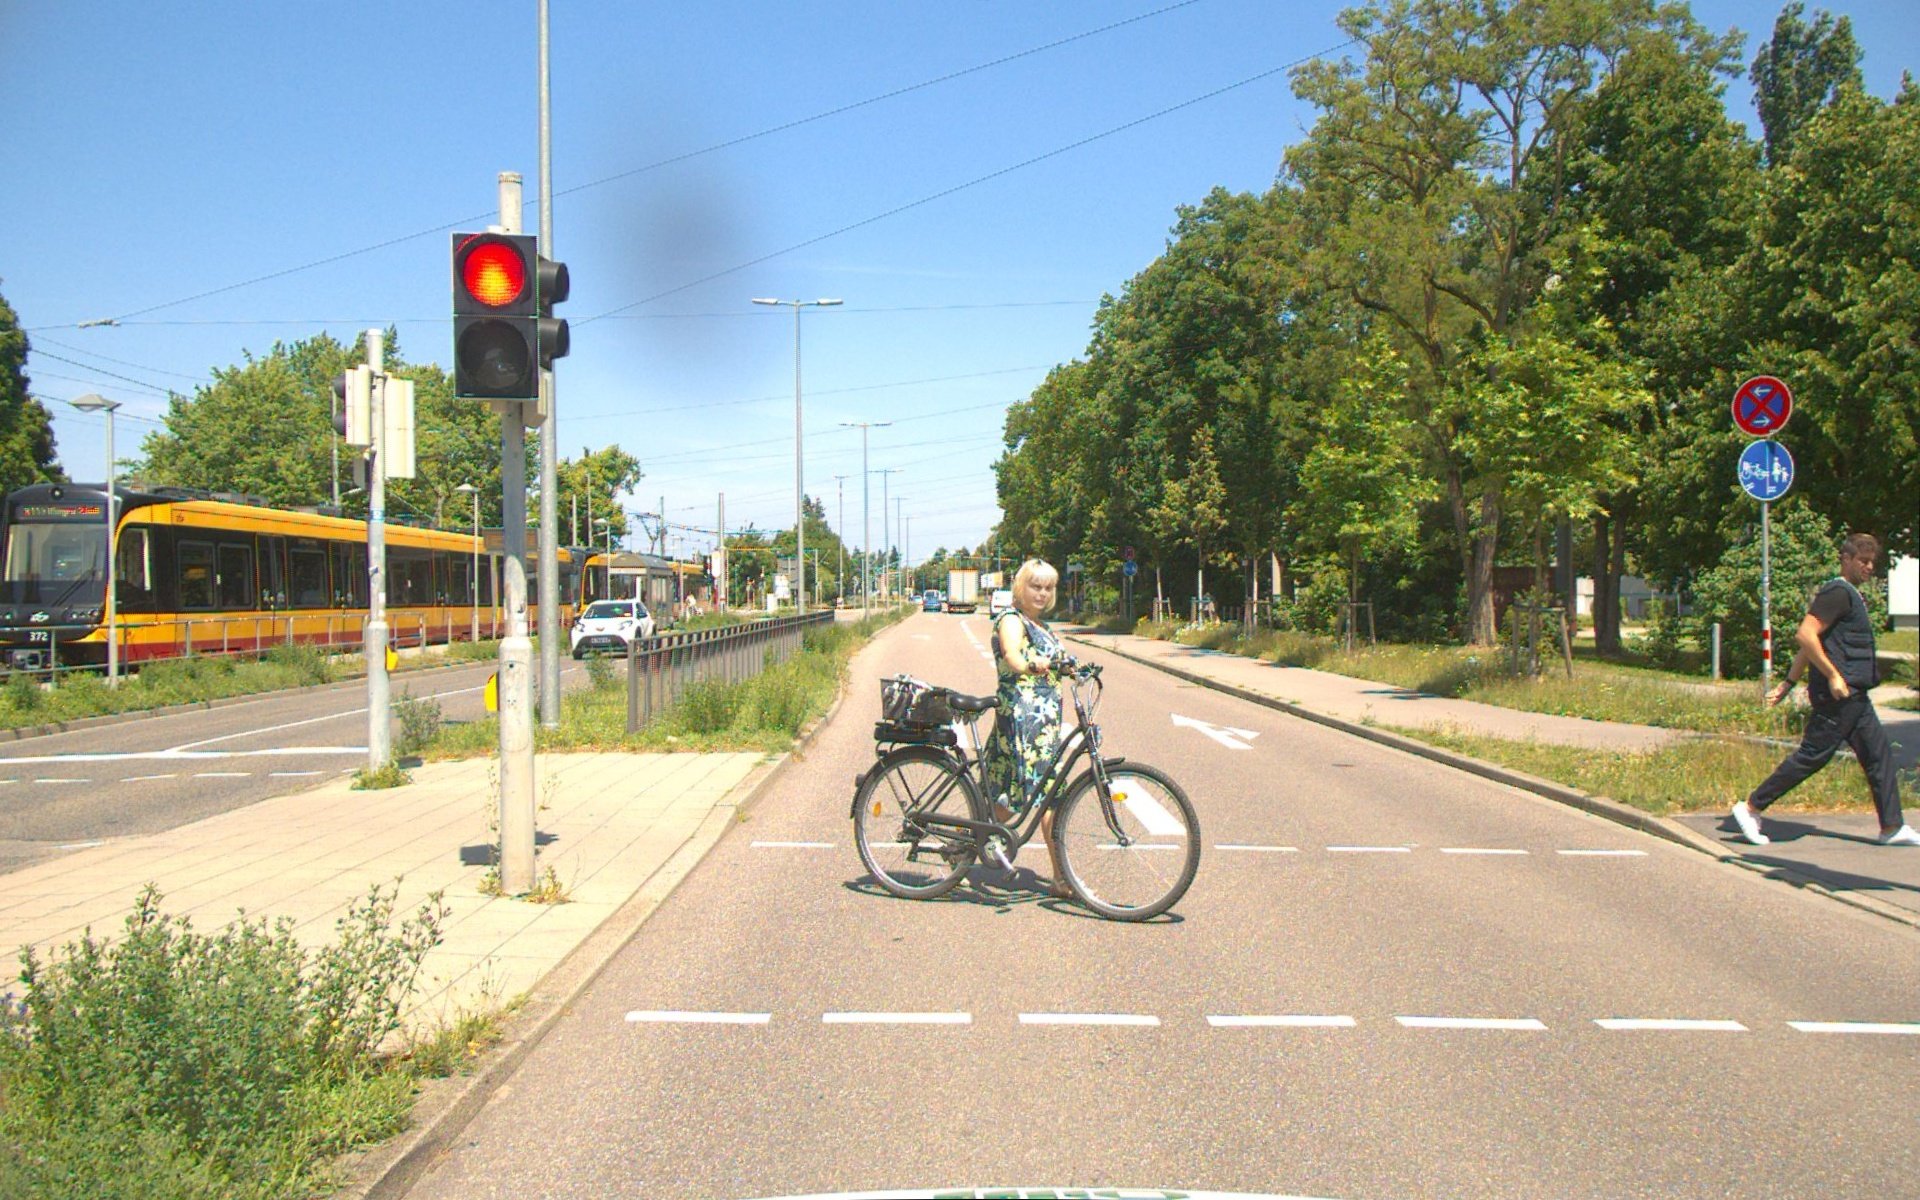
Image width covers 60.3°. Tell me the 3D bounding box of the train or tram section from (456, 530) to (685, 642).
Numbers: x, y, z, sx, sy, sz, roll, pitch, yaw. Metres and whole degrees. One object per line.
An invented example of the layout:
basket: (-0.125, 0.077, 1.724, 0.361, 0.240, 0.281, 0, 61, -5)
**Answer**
train or tram section: (-16.287, -0.554, 74.004, 2.871, 3.856, 33.081, 0, 0, -1)

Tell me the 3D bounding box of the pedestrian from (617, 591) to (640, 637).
pedestrian: (-13.850, 0.582, 69.085, 0.769, 1.901, 0.817, 0, 0, -1)

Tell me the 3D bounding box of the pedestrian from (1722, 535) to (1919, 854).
pedestrian: (5.291, 0.552, 9.949, 1.162, 1.809, 0.838, -2, -1, 30)

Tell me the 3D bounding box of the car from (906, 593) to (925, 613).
car: (-4.691, 0.299, 175.092, 1.953, 2.049, 3.999, 0, 0, -1)

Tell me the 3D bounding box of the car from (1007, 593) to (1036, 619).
car: (4.184, 0.377, 112.505, 1.743, 1.698, 3.999, 0, 0, -1)

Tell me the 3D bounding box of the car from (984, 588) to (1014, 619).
car: (2.453, 0.202, 105.707, 1.743, 1.937, 3.999, 0, 0, -1)

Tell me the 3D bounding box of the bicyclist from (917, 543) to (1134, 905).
bicyclist: (0.332, 0.574, 8.209, 0.937, 1.695, 0.581, 1, 2, 17)

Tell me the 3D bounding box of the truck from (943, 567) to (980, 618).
truck: (0.075, -0.669, 146.124, 3.140, 4.435, 6.559, 0, 0, -1)

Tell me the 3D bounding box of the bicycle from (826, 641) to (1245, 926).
bicycle: (0.356, 0.831, 7.908, 1.916, 1.181, 0.541, 1, 2, 17)

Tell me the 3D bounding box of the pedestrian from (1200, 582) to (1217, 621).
pedestrian: (9.335, 0.061, 62.086, 0.591, 1.463, 0.556, 0, 0, 6)

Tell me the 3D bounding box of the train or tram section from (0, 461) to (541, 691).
train or tram section: (-15.831, -0.464, 42.481, 2.897, 3.815, 30.027, 0, 0, -1)

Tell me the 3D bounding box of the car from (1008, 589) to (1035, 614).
car: (4.409, 0.096, 118.856, 1.743, 1.698, 3.999, 0, 0, -1)

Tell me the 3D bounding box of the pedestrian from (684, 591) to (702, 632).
pedestrian: (-13.466, 0.577, 83.443, 0.798, 2.049, 0.938, 0, 0, -1)

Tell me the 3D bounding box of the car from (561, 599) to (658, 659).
car: (-9.282, 0.737, 44.071, 1.807, 1.521, 3.790, 0, 0, -1)

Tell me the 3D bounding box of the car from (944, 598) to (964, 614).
car: (-0.585, 0.533, 153.602, 1.774, 1.490, 3.999, 0, 0, -1)

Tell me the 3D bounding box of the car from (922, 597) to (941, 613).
car: (-2.681, 0.508, 157.247, 1.774, 1.490, 3.999, 0, 0, -1)

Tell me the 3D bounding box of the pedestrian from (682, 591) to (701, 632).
pedestrian: (-13.742, 0.577, 84.732, 0.798, 2.049, 0.938, 0, 0, -1)
